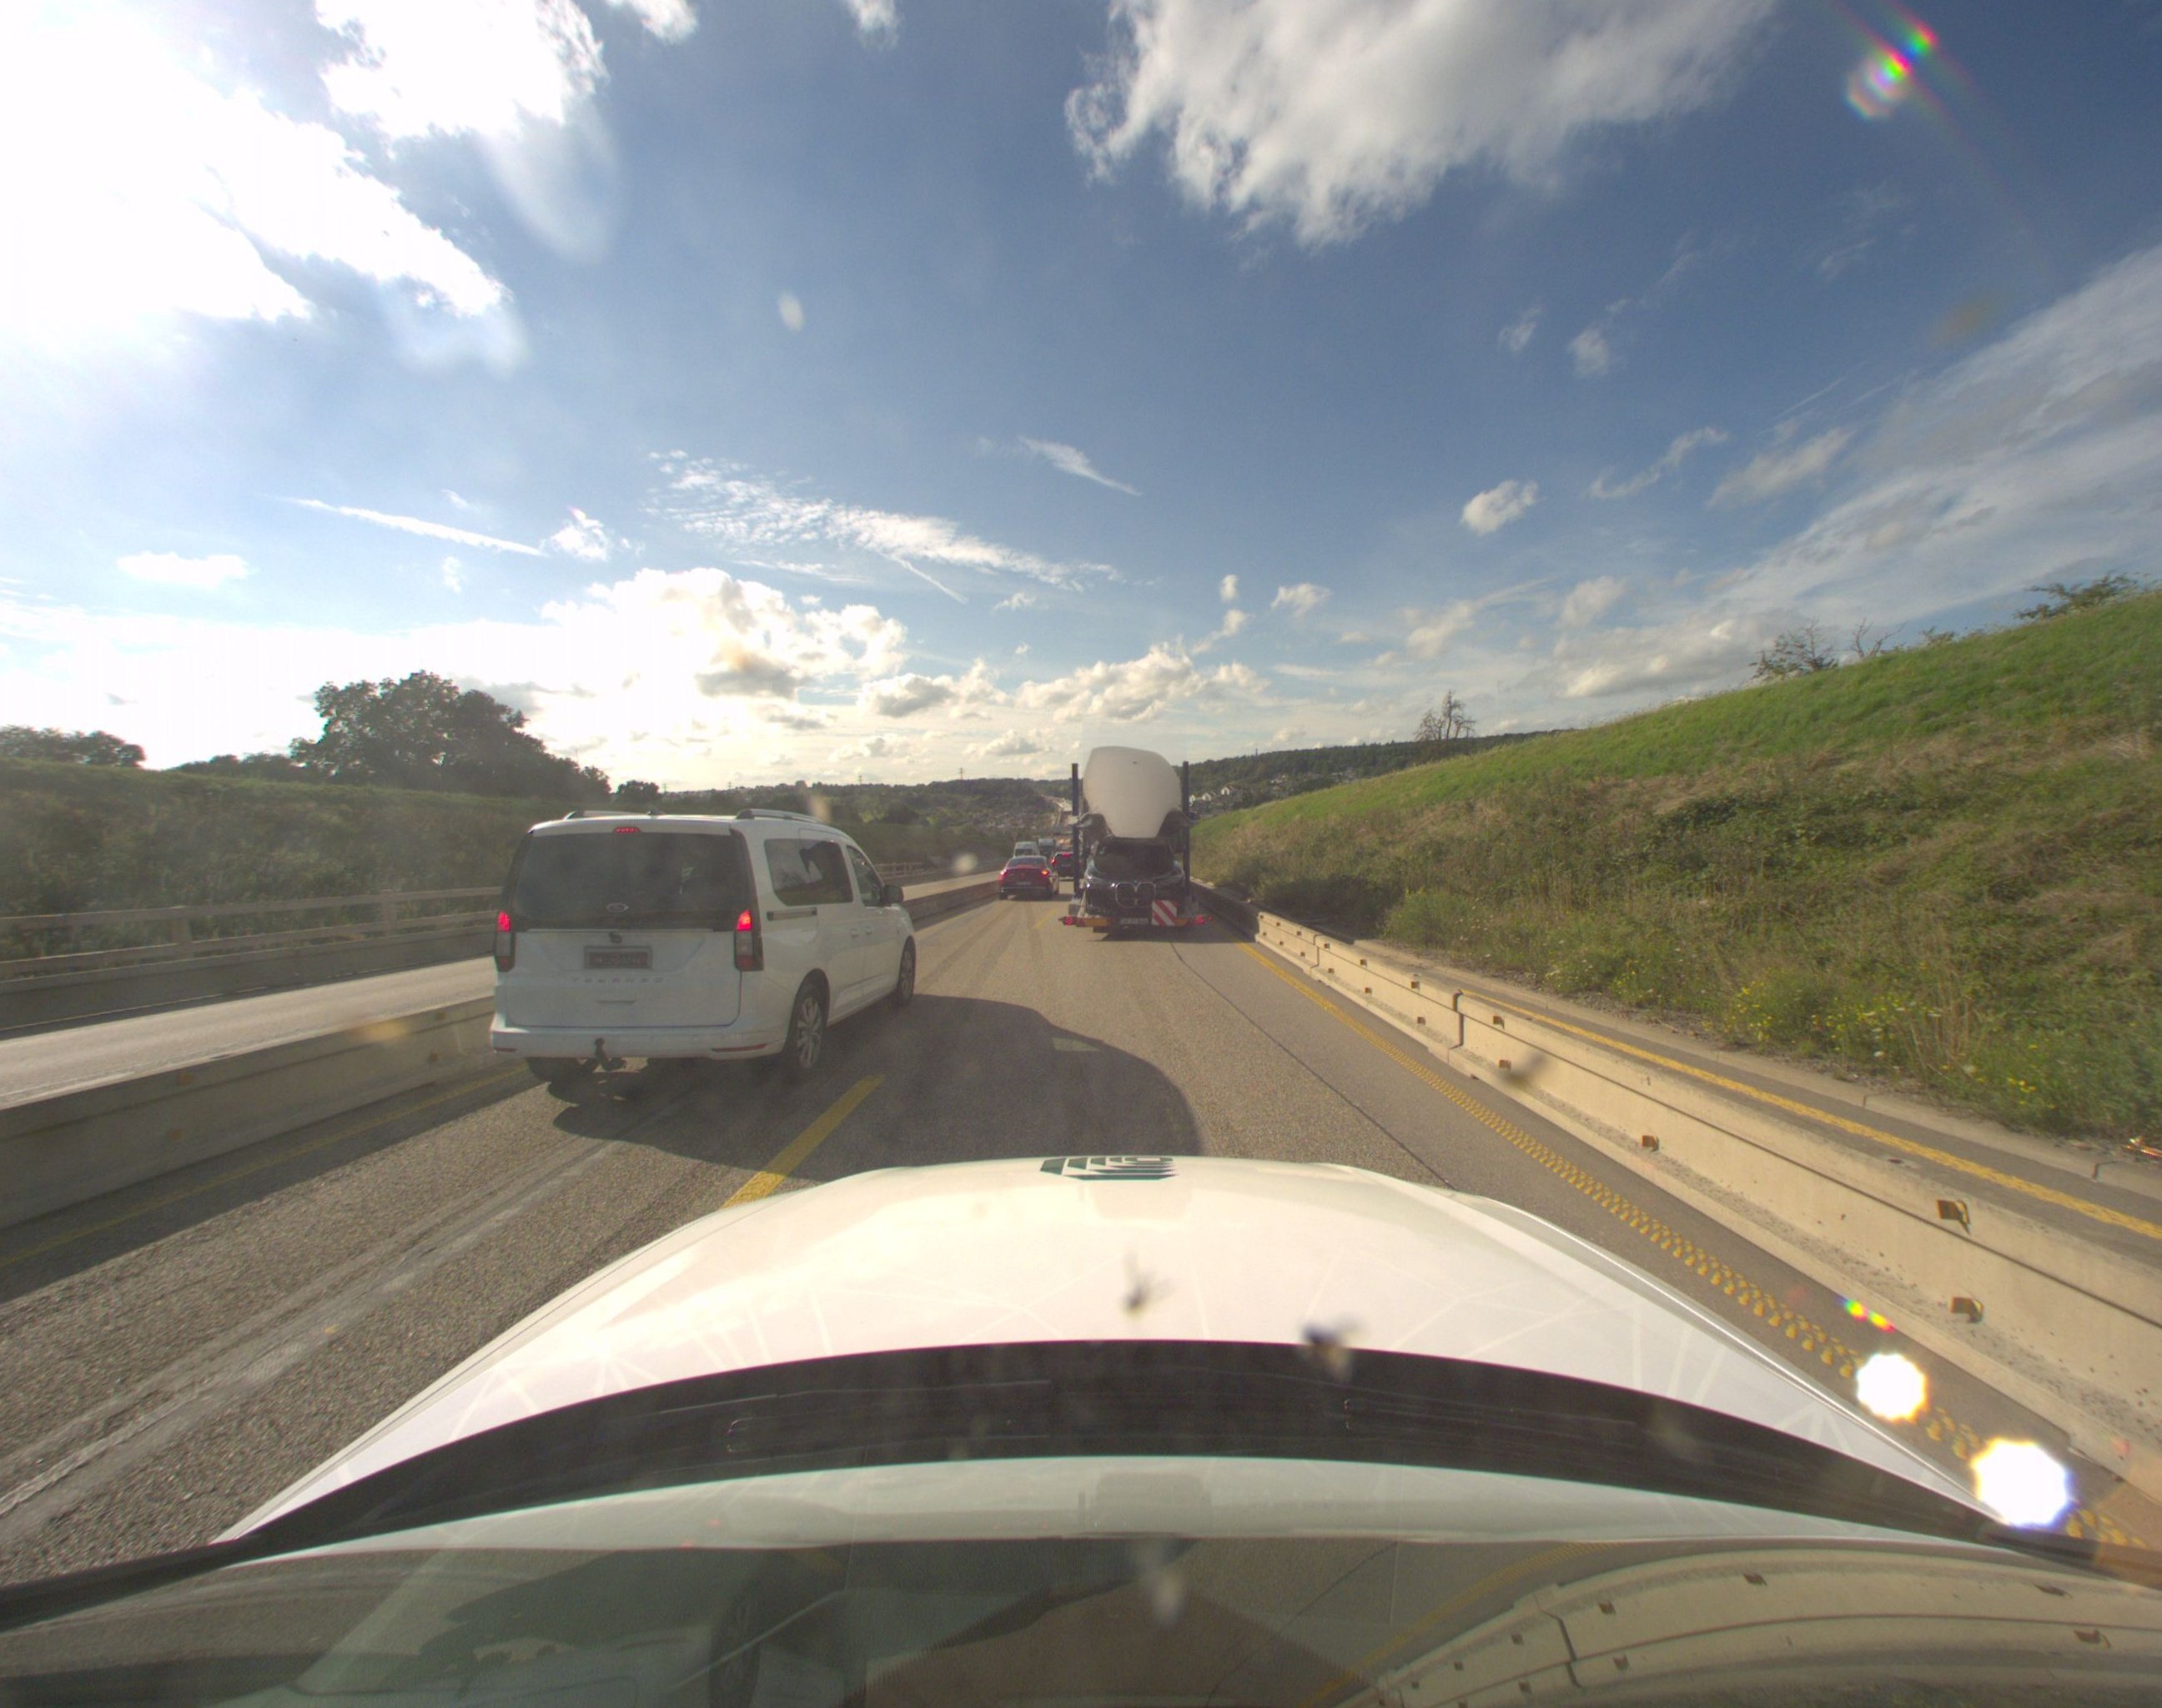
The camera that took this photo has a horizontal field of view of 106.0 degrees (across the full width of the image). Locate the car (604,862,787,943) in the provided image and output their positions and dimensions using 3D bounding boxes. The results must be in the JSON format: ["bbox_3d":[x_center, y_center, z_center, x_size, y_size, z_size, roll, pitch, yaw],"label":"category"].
[{"bbox_3d":[-8.283,0.952,18.056,1.728,1.425,4.628,-4,0,1],"label":"car"}]

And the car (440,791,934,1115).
[{"bbox_3d":[-2.636,0.535,6.835,1.816,1.823,4.459,0,0,2],"label":"car"}]

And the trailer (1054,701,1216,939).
[{"bbox_3d":[1.171,-0.599,19.706,2.697,4.029,11.426,-1,0,2],"label":"trailer"}]

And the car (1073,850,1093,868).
[{"bbox_3d":[0.215,0.478,79.247,1.790,1.596,4.743,-1,0,0],"label":"car"}]

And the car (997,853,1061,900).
[{"bbox_3d":[-1.756,0.738,28.850,1.816,1.492,4.686,0,1,2],"label":"car"}]

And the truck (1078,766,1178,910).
[{"bbox_3d":[1.394,-0.444,25.391,2.668,3.922,6.030,-1,0,2],"label":"truck"}]

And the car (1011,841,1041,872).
[{"bbox_3d":[-5.471,0.219,81.727,2.102,2.835,6.142,-4,0,2],"label":"car"}]

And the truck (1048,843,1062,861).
[{"bbox_3d":[-6.128,-0.431,194.133,2.630,4.099,10.818,-1,0,1],"label":"truck"}]

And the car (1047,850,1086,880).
[{"bbox_3d":[-0.784,0.583,46.738,1.986,1.625,4.752,1,0,2],"label":"car"}]

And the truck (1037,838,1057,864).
[{"bbox_3d":[-5.573,-0.536,134.637,2.604,4.153,5.785,-1,0,2],"label":"truck"}]
